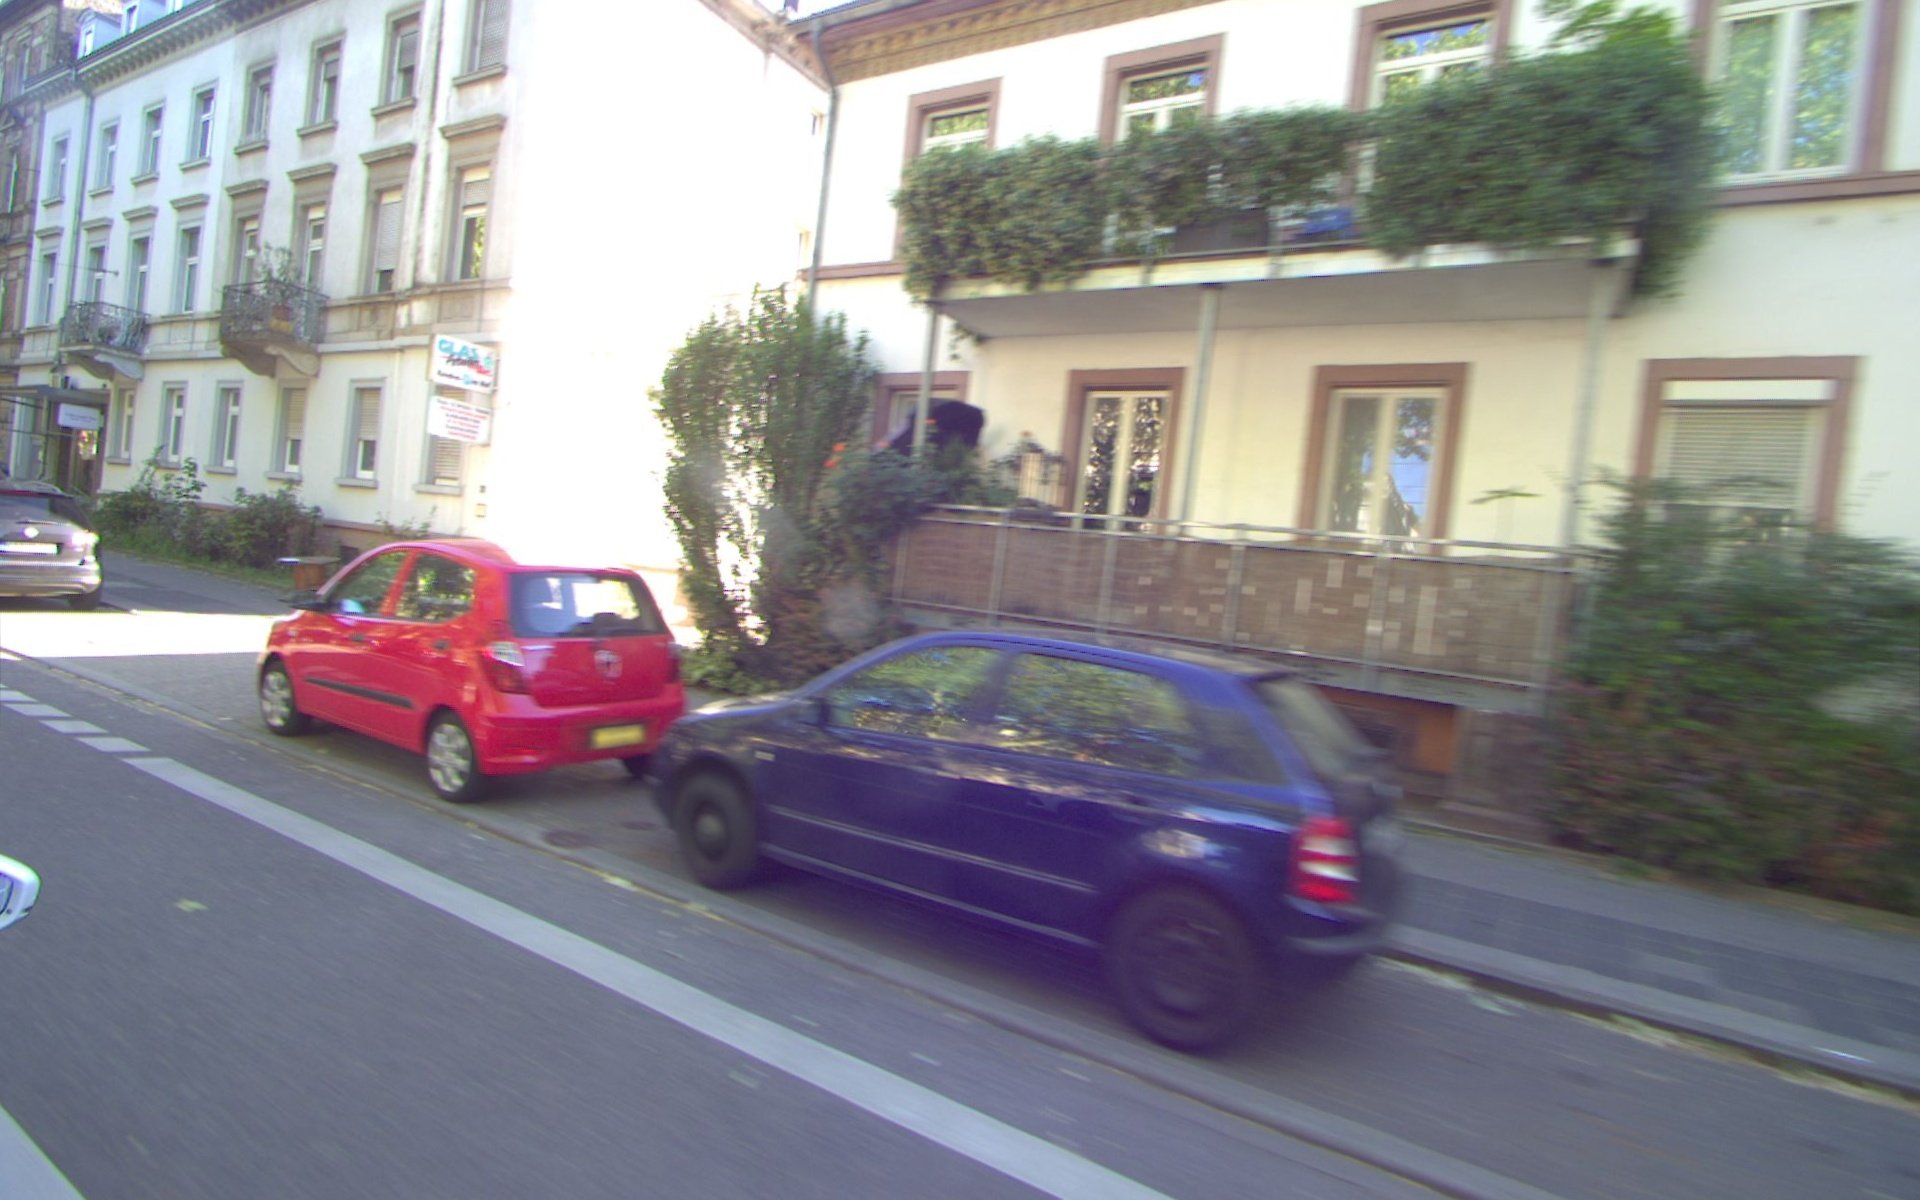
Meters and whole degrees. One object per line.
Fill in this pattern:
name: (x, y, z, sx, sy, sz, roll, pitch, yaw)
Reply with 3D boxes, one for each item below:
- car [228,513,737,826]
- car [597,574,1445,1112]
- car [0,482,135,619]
car: (-3.509, 0.349, 7.223, 3.518, 1.566, 1.635, 7, 1, 34)
car: (0.160, 0.822, 5.035, 3.805, 1.475, 1.651, 7, 1, 32)
car: (-12.869, -0.756, 13.182, 3.865, 1.608, 1.880, 6, 3, 29)
